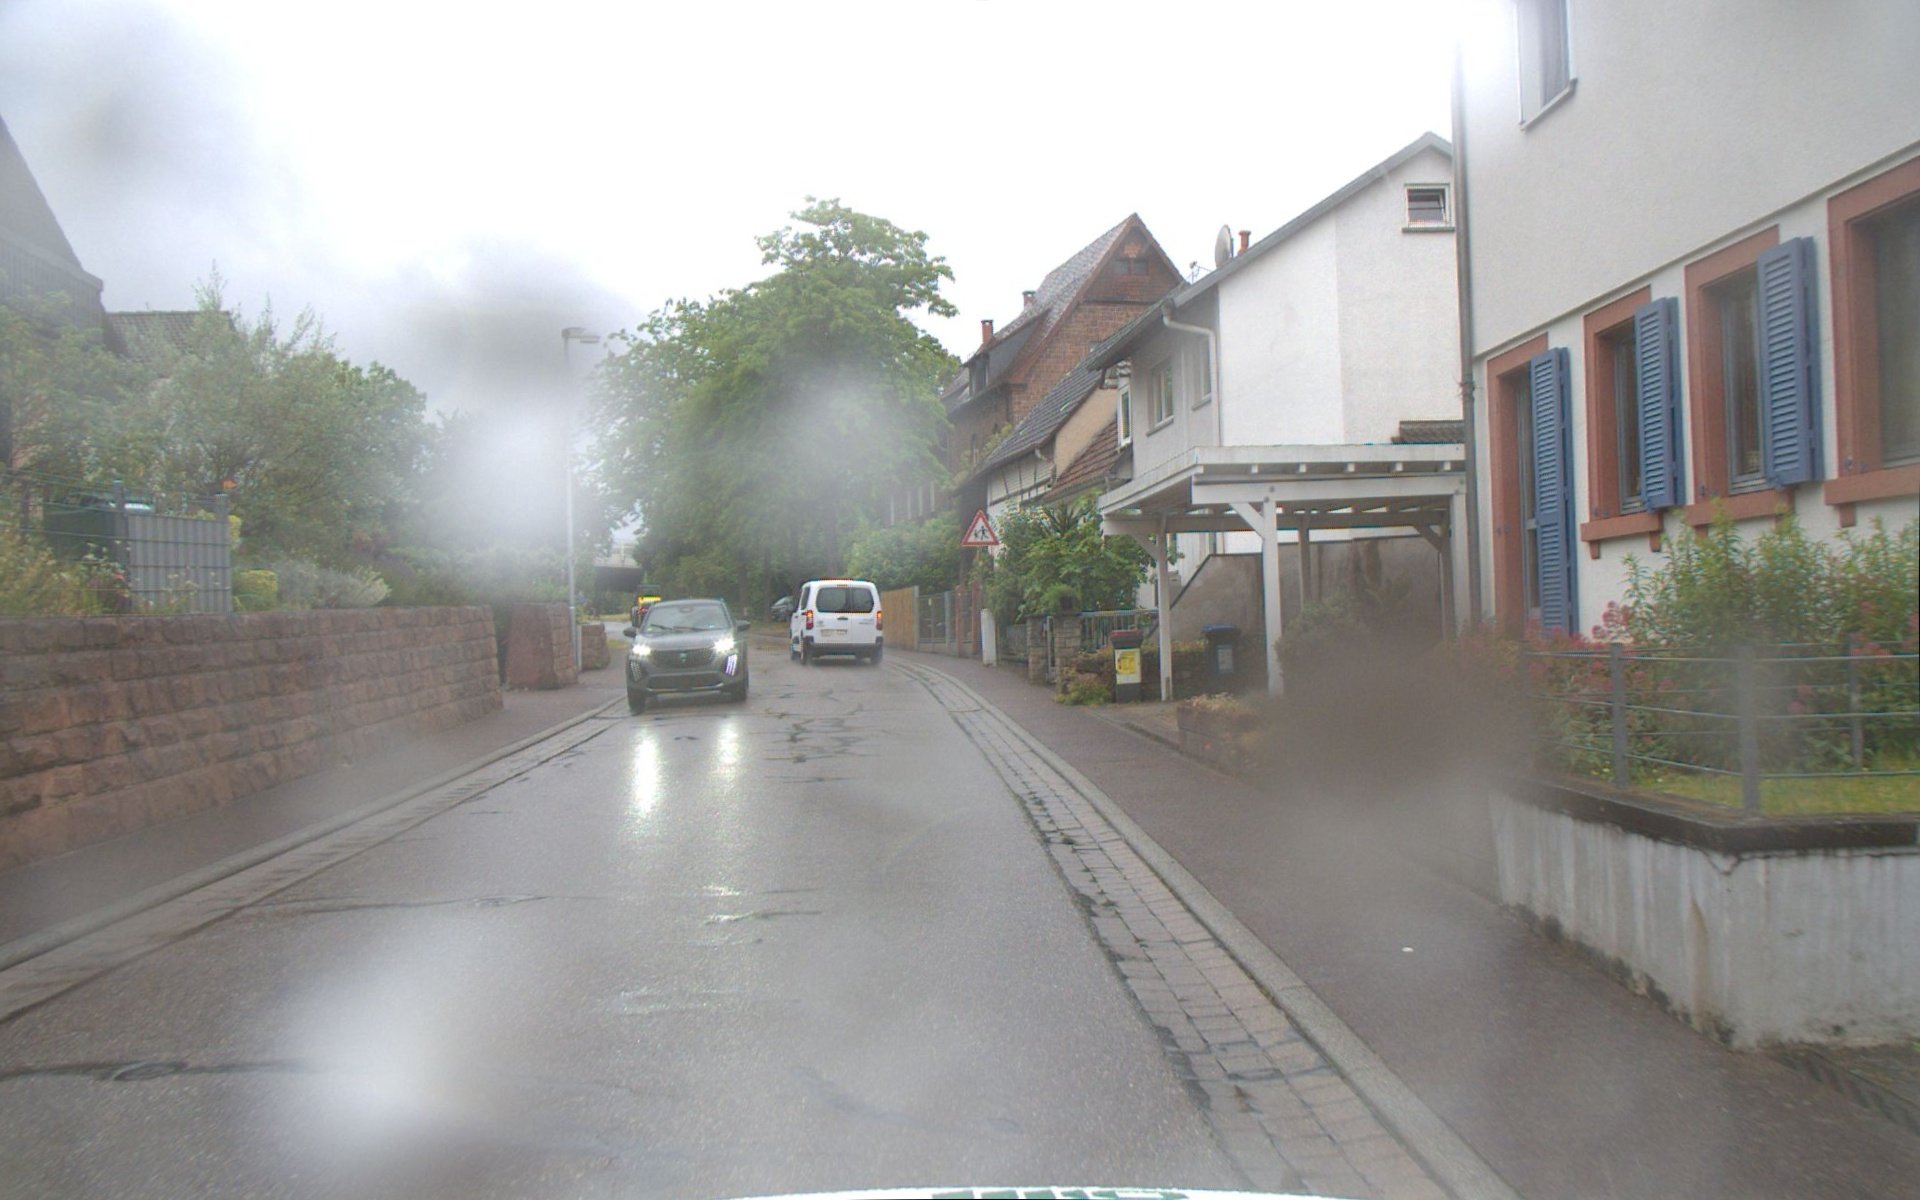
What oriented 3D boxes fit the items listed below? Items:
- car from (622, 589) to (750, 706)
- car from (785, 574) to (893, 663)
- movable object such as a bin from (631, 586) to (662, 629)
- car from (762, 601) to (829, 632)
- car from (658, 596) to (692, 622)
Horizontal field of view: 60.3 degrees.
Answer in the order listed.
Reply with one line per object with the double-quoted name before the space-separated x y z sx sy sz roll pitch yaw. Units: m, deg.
"car" -4.170 0.673 25.655 1.667 1.573 3.845 -3 1 -6
"car" -2.773 0.376 37.094 1.863 1.838 3.988 -1 0 -12
"movable object such as a bin" -19.267 0.495 101.586 1.730 2.592 4.225 0 -1 -12
"car" -8.997 0.901 90.555 1.591 1.578 3.596 -2 -1 38
"car" -15.672 0.491 90.762 1.679 1.402 3.987 0 -1 -12
